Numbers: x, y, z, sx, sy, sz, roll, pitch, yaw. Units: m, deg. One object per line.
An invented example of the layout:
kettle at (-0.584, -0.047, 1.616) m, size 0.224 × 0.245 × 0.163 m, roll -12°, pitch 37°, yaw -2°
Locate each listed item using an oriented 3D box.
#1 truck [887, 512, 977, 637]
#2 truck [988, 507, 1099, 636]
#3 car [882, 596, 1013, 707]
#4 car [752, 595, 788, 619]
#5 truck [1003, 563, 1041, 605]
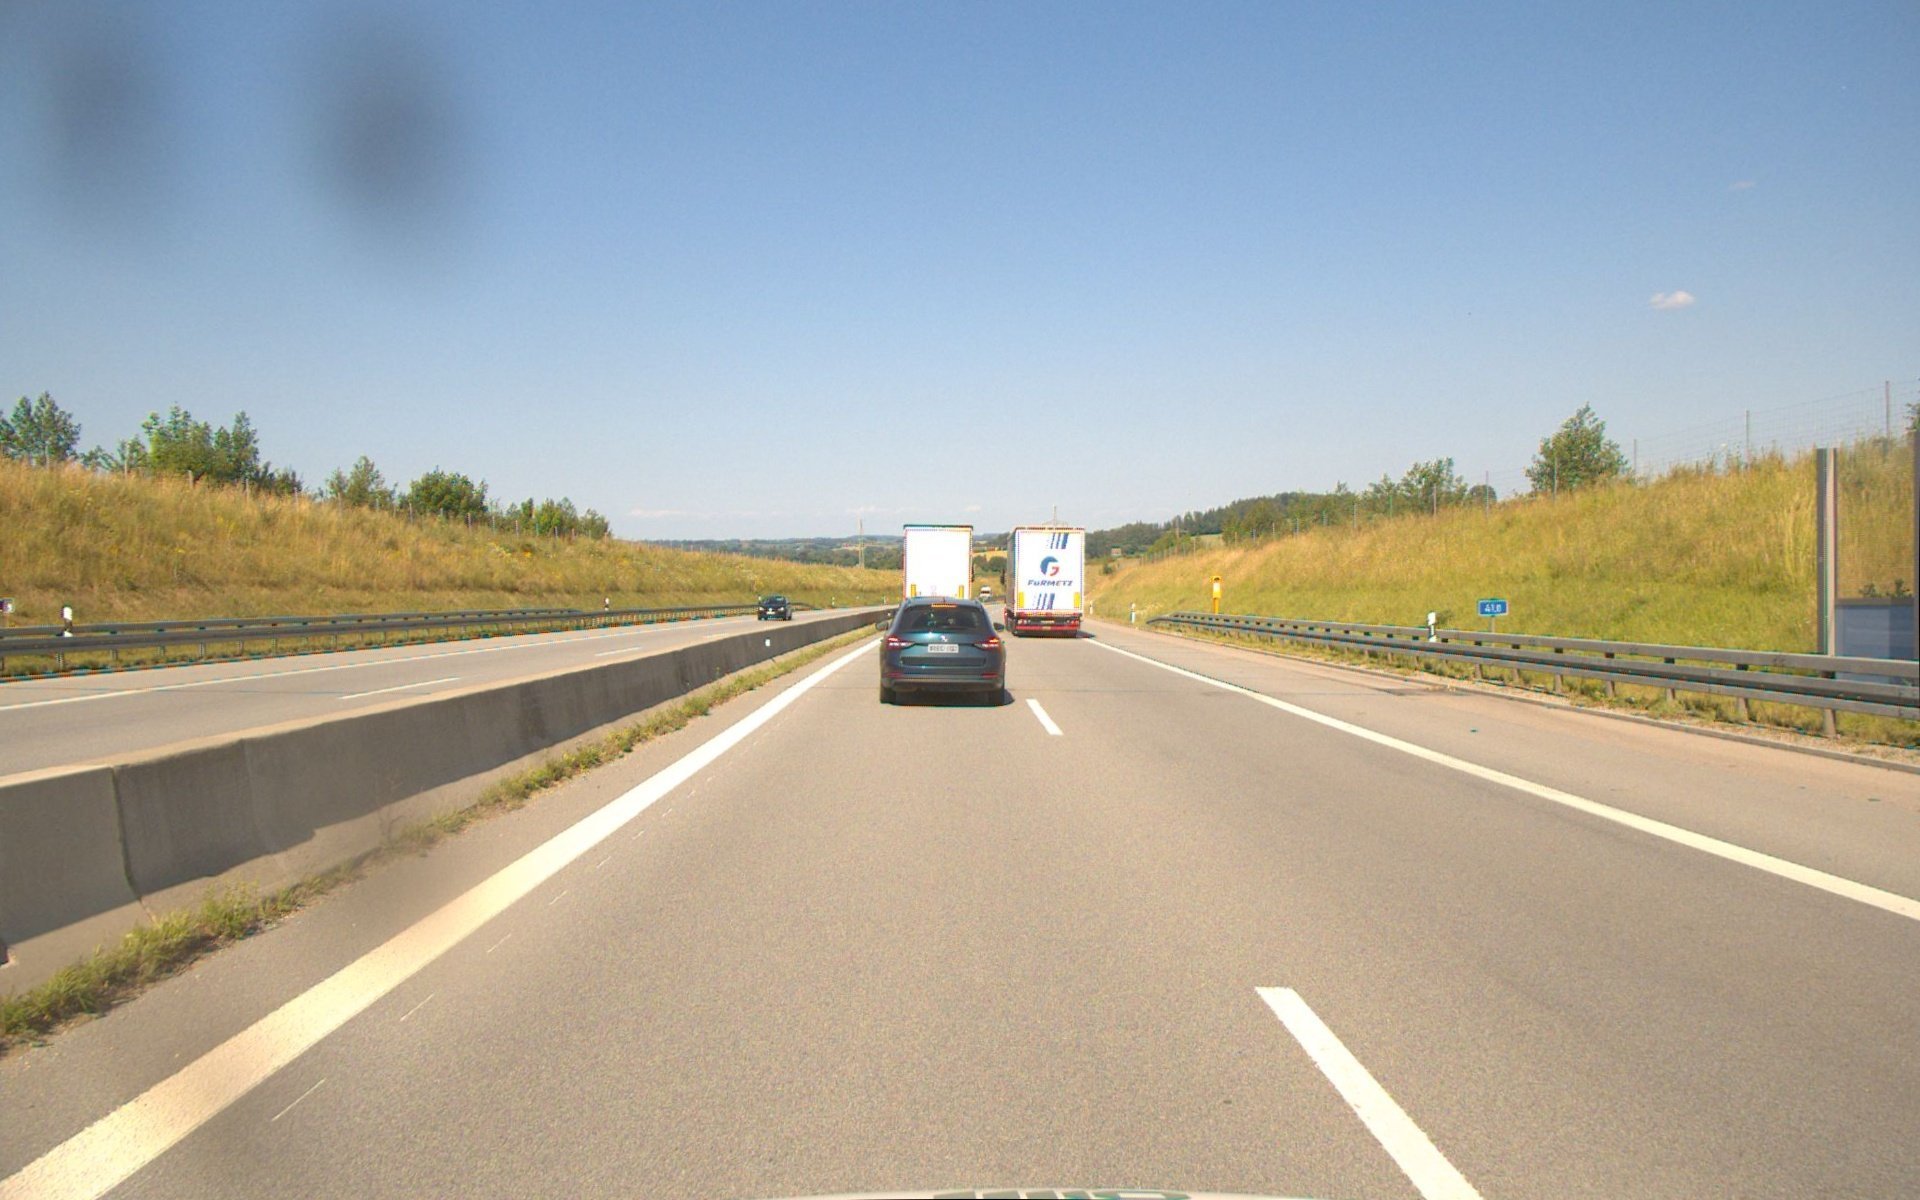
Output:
truck at (-1.039, -0.959, 66.213) m, size 3.145 × 4.457 × 11.233 m, roll -2°, pitch 0°, yaw 0°
truck at (3.105, -1.055, 64.999) m, size 3.531 × 4.457 × 11.232 m, roll -2°, pitch 0°, yaw -1°
car at (-0.225, 0.683, 23.905) m, size 1.741 × 1.466 × 3.787 m, roll 0°, pitch 0°, yaw -2°
car at (-11.455, 0.401, 99.935) m, size 1.710 × 1.379 × 4.000 m, roll -2°, pitch 0°, yaw -1°
truck at (6.776, -1.763, 183.714) m, size 3.531 × 4.457 × 11.232 m, roll -2°, pitch 0°, yaw -1°
